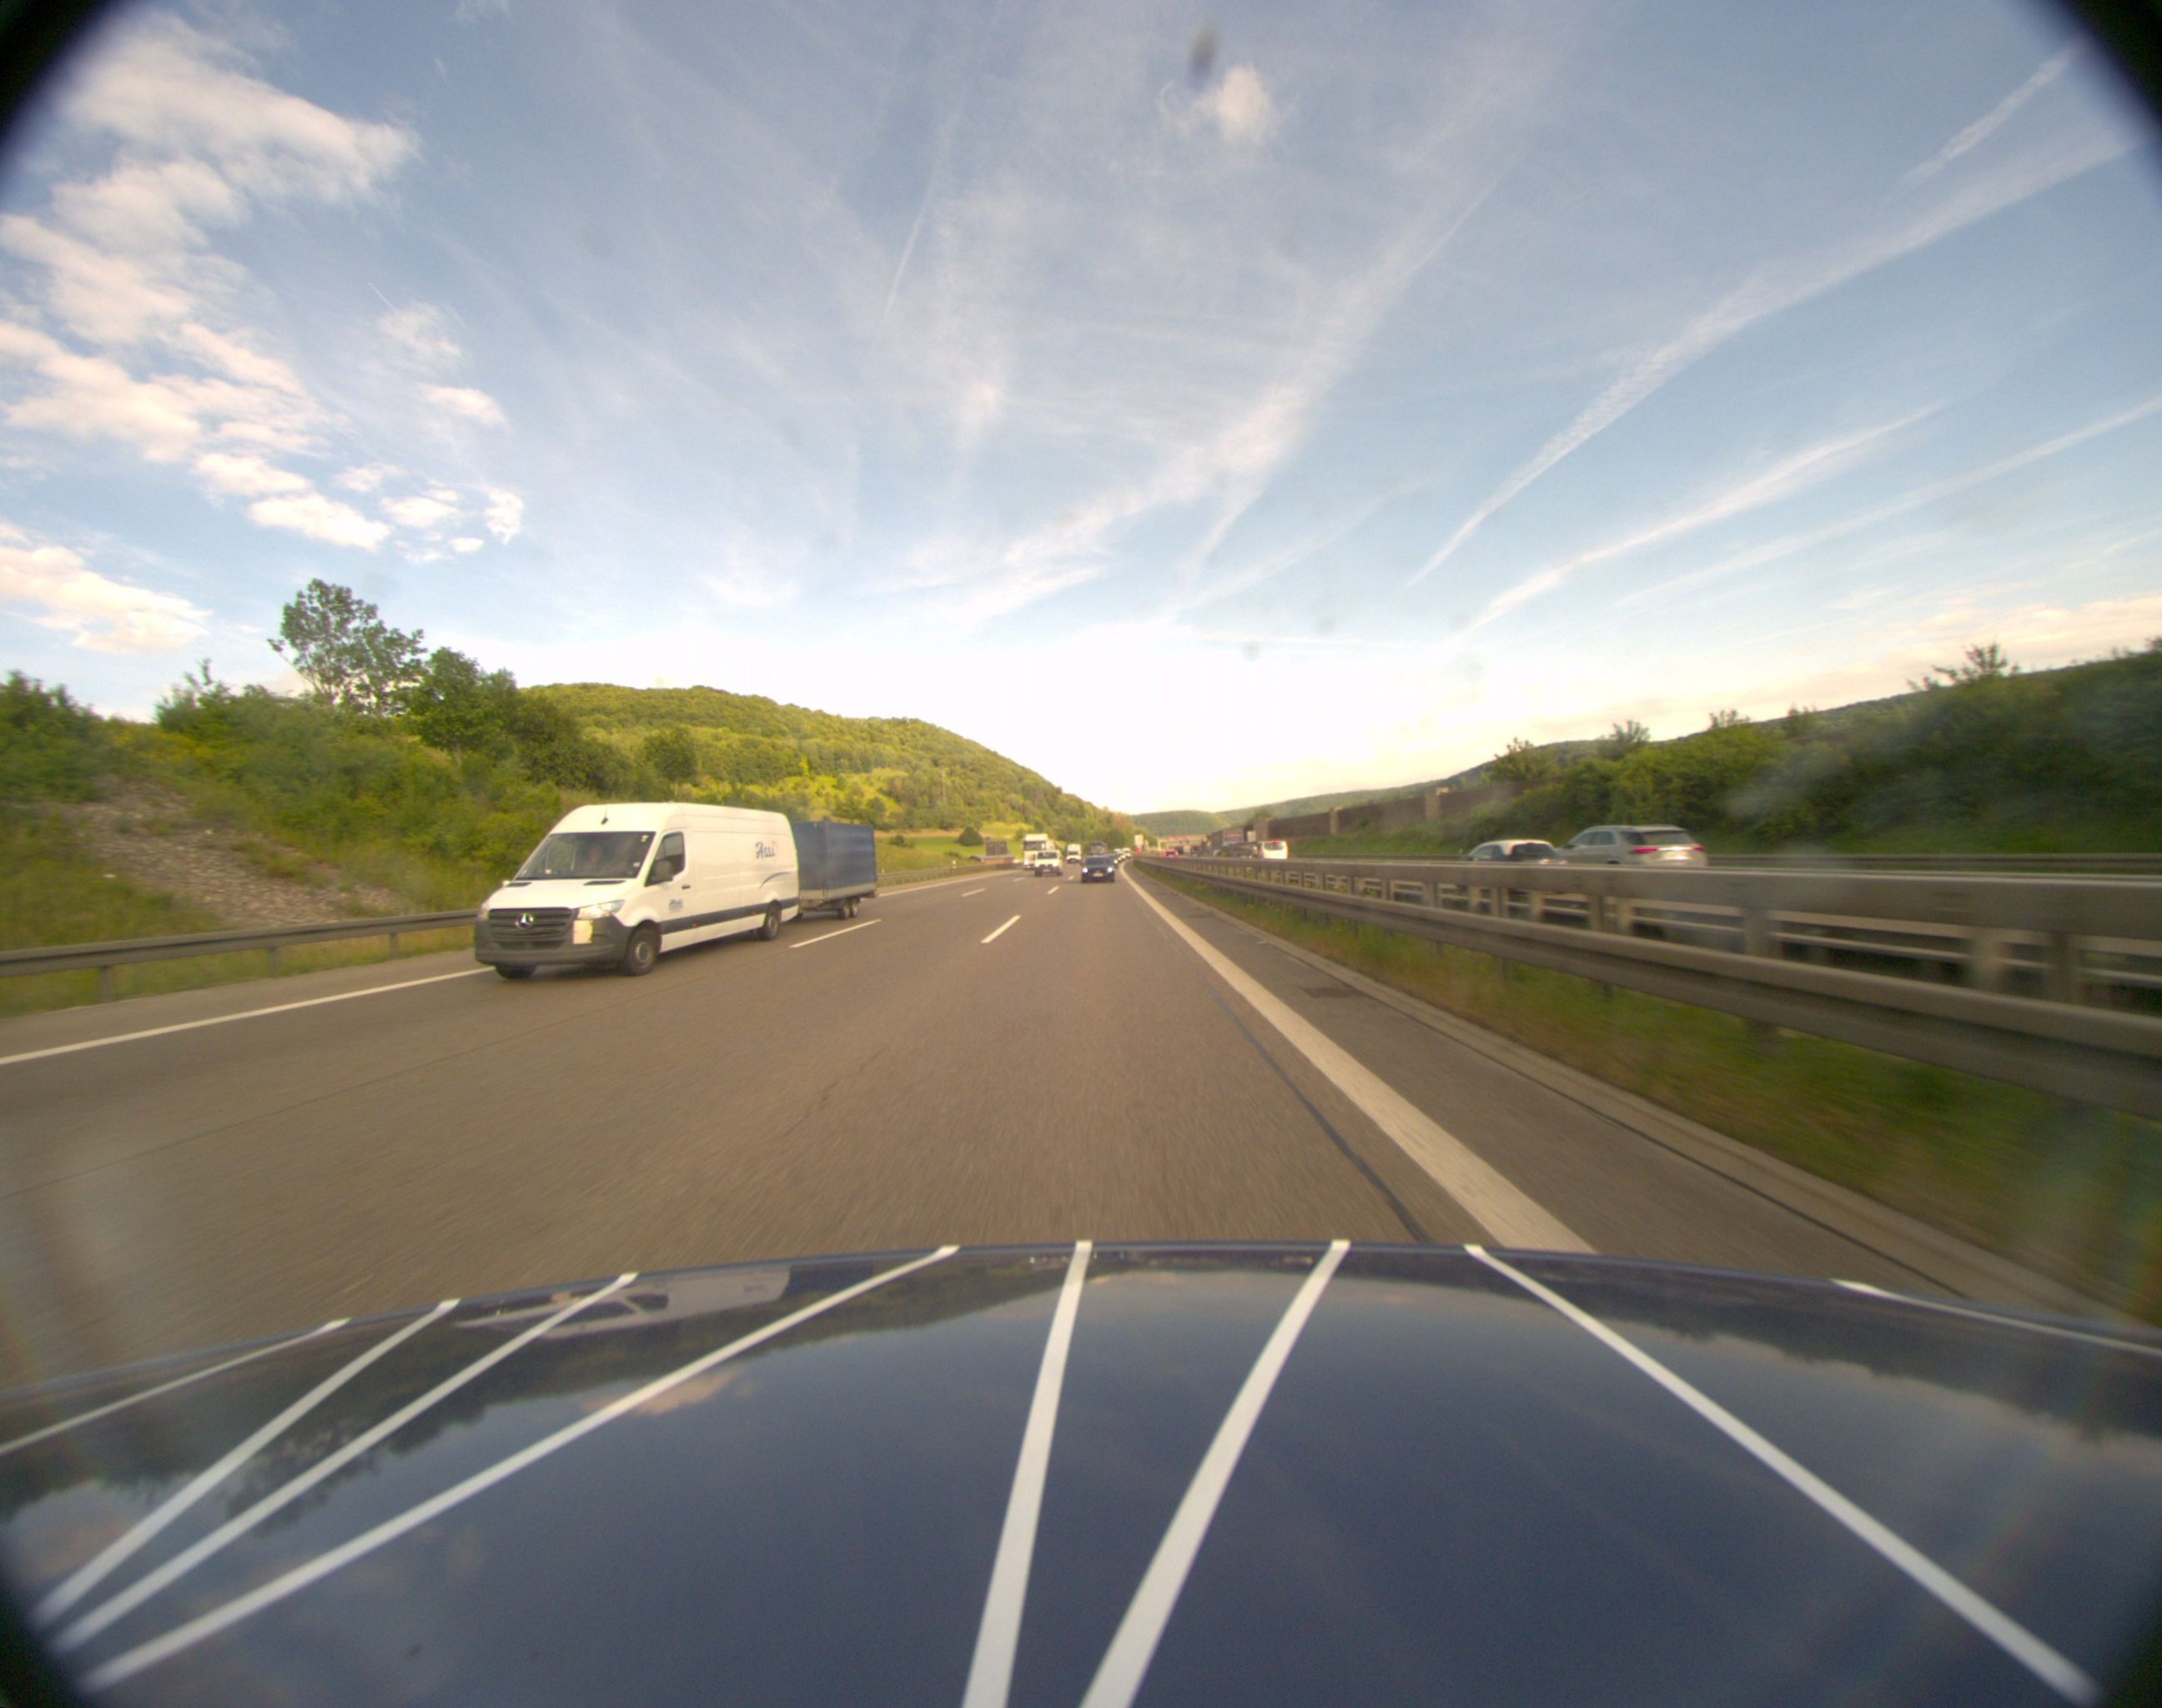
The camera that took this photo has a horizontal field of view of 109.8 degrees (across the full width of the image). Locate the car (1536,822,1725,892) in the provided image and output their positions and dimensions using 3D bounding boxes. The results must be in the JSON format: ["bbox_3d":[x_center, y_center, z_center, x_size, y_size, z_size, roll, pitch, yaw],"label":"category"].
[{"bbox_3d":[15.364,0.051,21.679,1.934,1.712,4.879,-2,0,2],"label":"car"}]

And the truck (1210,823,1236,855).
[{"bbox_3d":[20.088,-2.045,108.014,2.656,4.235,8.169,-2,0,4],"label":"truck"}]

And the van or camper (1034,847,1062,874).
[{"bbox_3d":[-2.533,0.473,57.877,1.999,1.881,4.485,-2,0,-4],"label":"van or camper"}]

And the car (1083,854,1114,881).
[{"bbox_3d":[0.973,0.702,41.574,1.580,1.310,4.000,-2,0,2],"label":"car"}]

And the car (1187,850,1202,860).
[{"bbox_3d":[16.651,0.180,111.248,1.688,1.388,4.000,-2,0,2],"label":"car"}]

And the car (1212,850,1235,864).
[{"bbox_3d":[14.581,0.304,77.972,1.688,1.388,4.000,-2,0,2],"label":"car"}]

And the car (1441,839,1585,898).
[{"bbox_3d":[11.934,0.359,21.372,1.647,1.427,4.345,-2,1,2],"label":"car"}]

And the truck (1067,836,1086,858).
[{"bbox_3d":[-0.832,-1.157,131.947,2.709,3.627,9.030,-2,0,-3],"label":"truck"}]

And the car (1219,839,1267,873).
[{"bbox_3d":[9.561,0.086,45.156,1.934,1.881,4.345,-2,0,2],"label":"car"}]

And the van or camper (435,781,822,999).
[{"bbox_3d":[-7.026,0.463,13.388,1.998,2.701,7.523,-2,0,2],"label":"van or camper"}]

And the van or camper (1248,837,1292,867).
[{"bbox_3d":[13.246,-0.133,53.657,1.853,1.928,5.401,-2,0,2],"label":"van or camper"}]

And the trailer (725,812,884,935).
[{"bbox_3d":[-6.883,0.424,19.688,1.998,2.710,5.249,-2,0,1],"label":"trailer"}]

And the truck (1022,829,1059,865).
[{"bbox_3d":[-4.677,-0.856,90.011,2.925,3.876,13.011,-2,0,3],"label":"truck"}]

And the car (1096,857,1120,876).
[{"bbox_3d":[2.776,1.254,79.087,1.999,1.870,3.998,-1,0,-6],"label":"car"}]

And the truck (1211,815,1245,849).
[{"bbox_3d":[19.677,-2.825,102.514,2.656,4.253,14.681,-2,0,4],"label":"truck"}]

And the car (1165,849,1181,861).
[{"bbox_3d":[12.010,0.079,99.838,1.688,1.450,4.000,-2,0,2],"label":"car"}]
